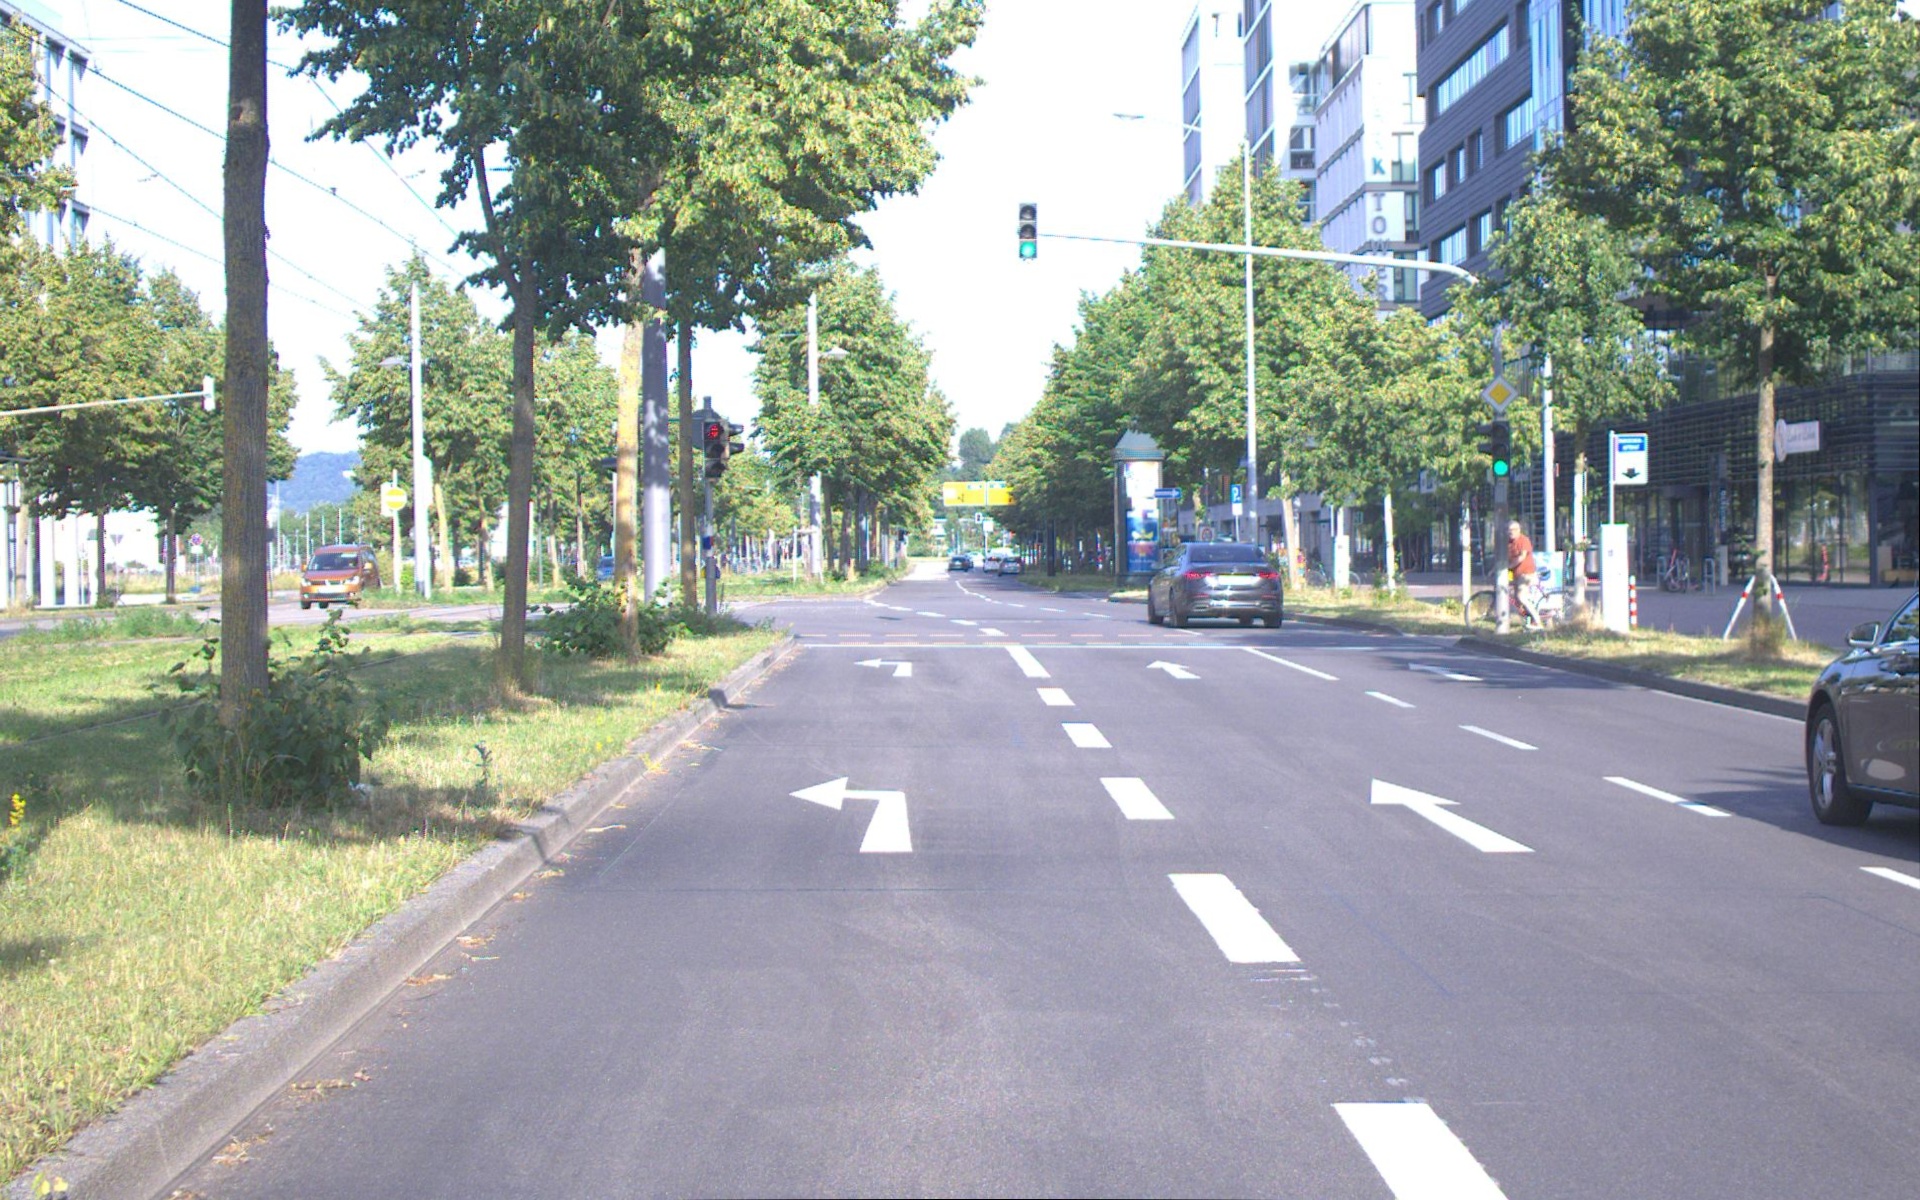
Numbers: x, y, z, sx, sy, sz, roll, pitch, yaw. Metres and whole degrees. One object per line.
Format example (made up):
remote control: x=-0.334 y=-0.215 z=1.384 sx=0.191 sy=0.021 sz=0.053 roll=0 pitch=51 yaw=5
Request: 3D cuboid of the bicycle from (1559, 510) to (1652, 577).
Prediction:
bicycle: x=18.358 y=-1.613 z=97.764 sx=2.565 sy=1.851 sz=0.569 roll=1 pitch=0 yaw=9

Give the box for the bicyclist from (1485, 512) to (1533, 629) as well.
bicyclist: x=8.047 y=-0.438 z=50.418 sx=0.574 sy=1.701 sz=0.541 roll=1 pitch=0 yaw=-3

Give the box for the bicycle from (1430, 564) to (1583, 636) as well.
bicycle: x=8.007 y=-0.001 z=50.404 sx=2.134 sy=1.009 sz=0.571 roll=1 pitch=0 yaw=-4

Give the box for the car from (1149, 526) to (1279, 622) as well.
car: x=4.210 y=-0.435 z=57.454 sx=1.859 sy=1.519 sz=3.786 roll=1 pitch=1 yaw=0

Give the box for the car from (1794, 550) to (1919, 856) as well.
car: x=5.345 y=0.488 z=16.350 sx=1.774 sy=1.419 sz=3.961 roll=1 pitch=1 yaw=0

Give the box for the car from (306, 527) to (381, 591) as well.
car: x=-17.627 y=-1.162 z=98.363 sx=1.684 sy=1.769 sz=3.883 roll=1 pitch=1 yaw=-4
